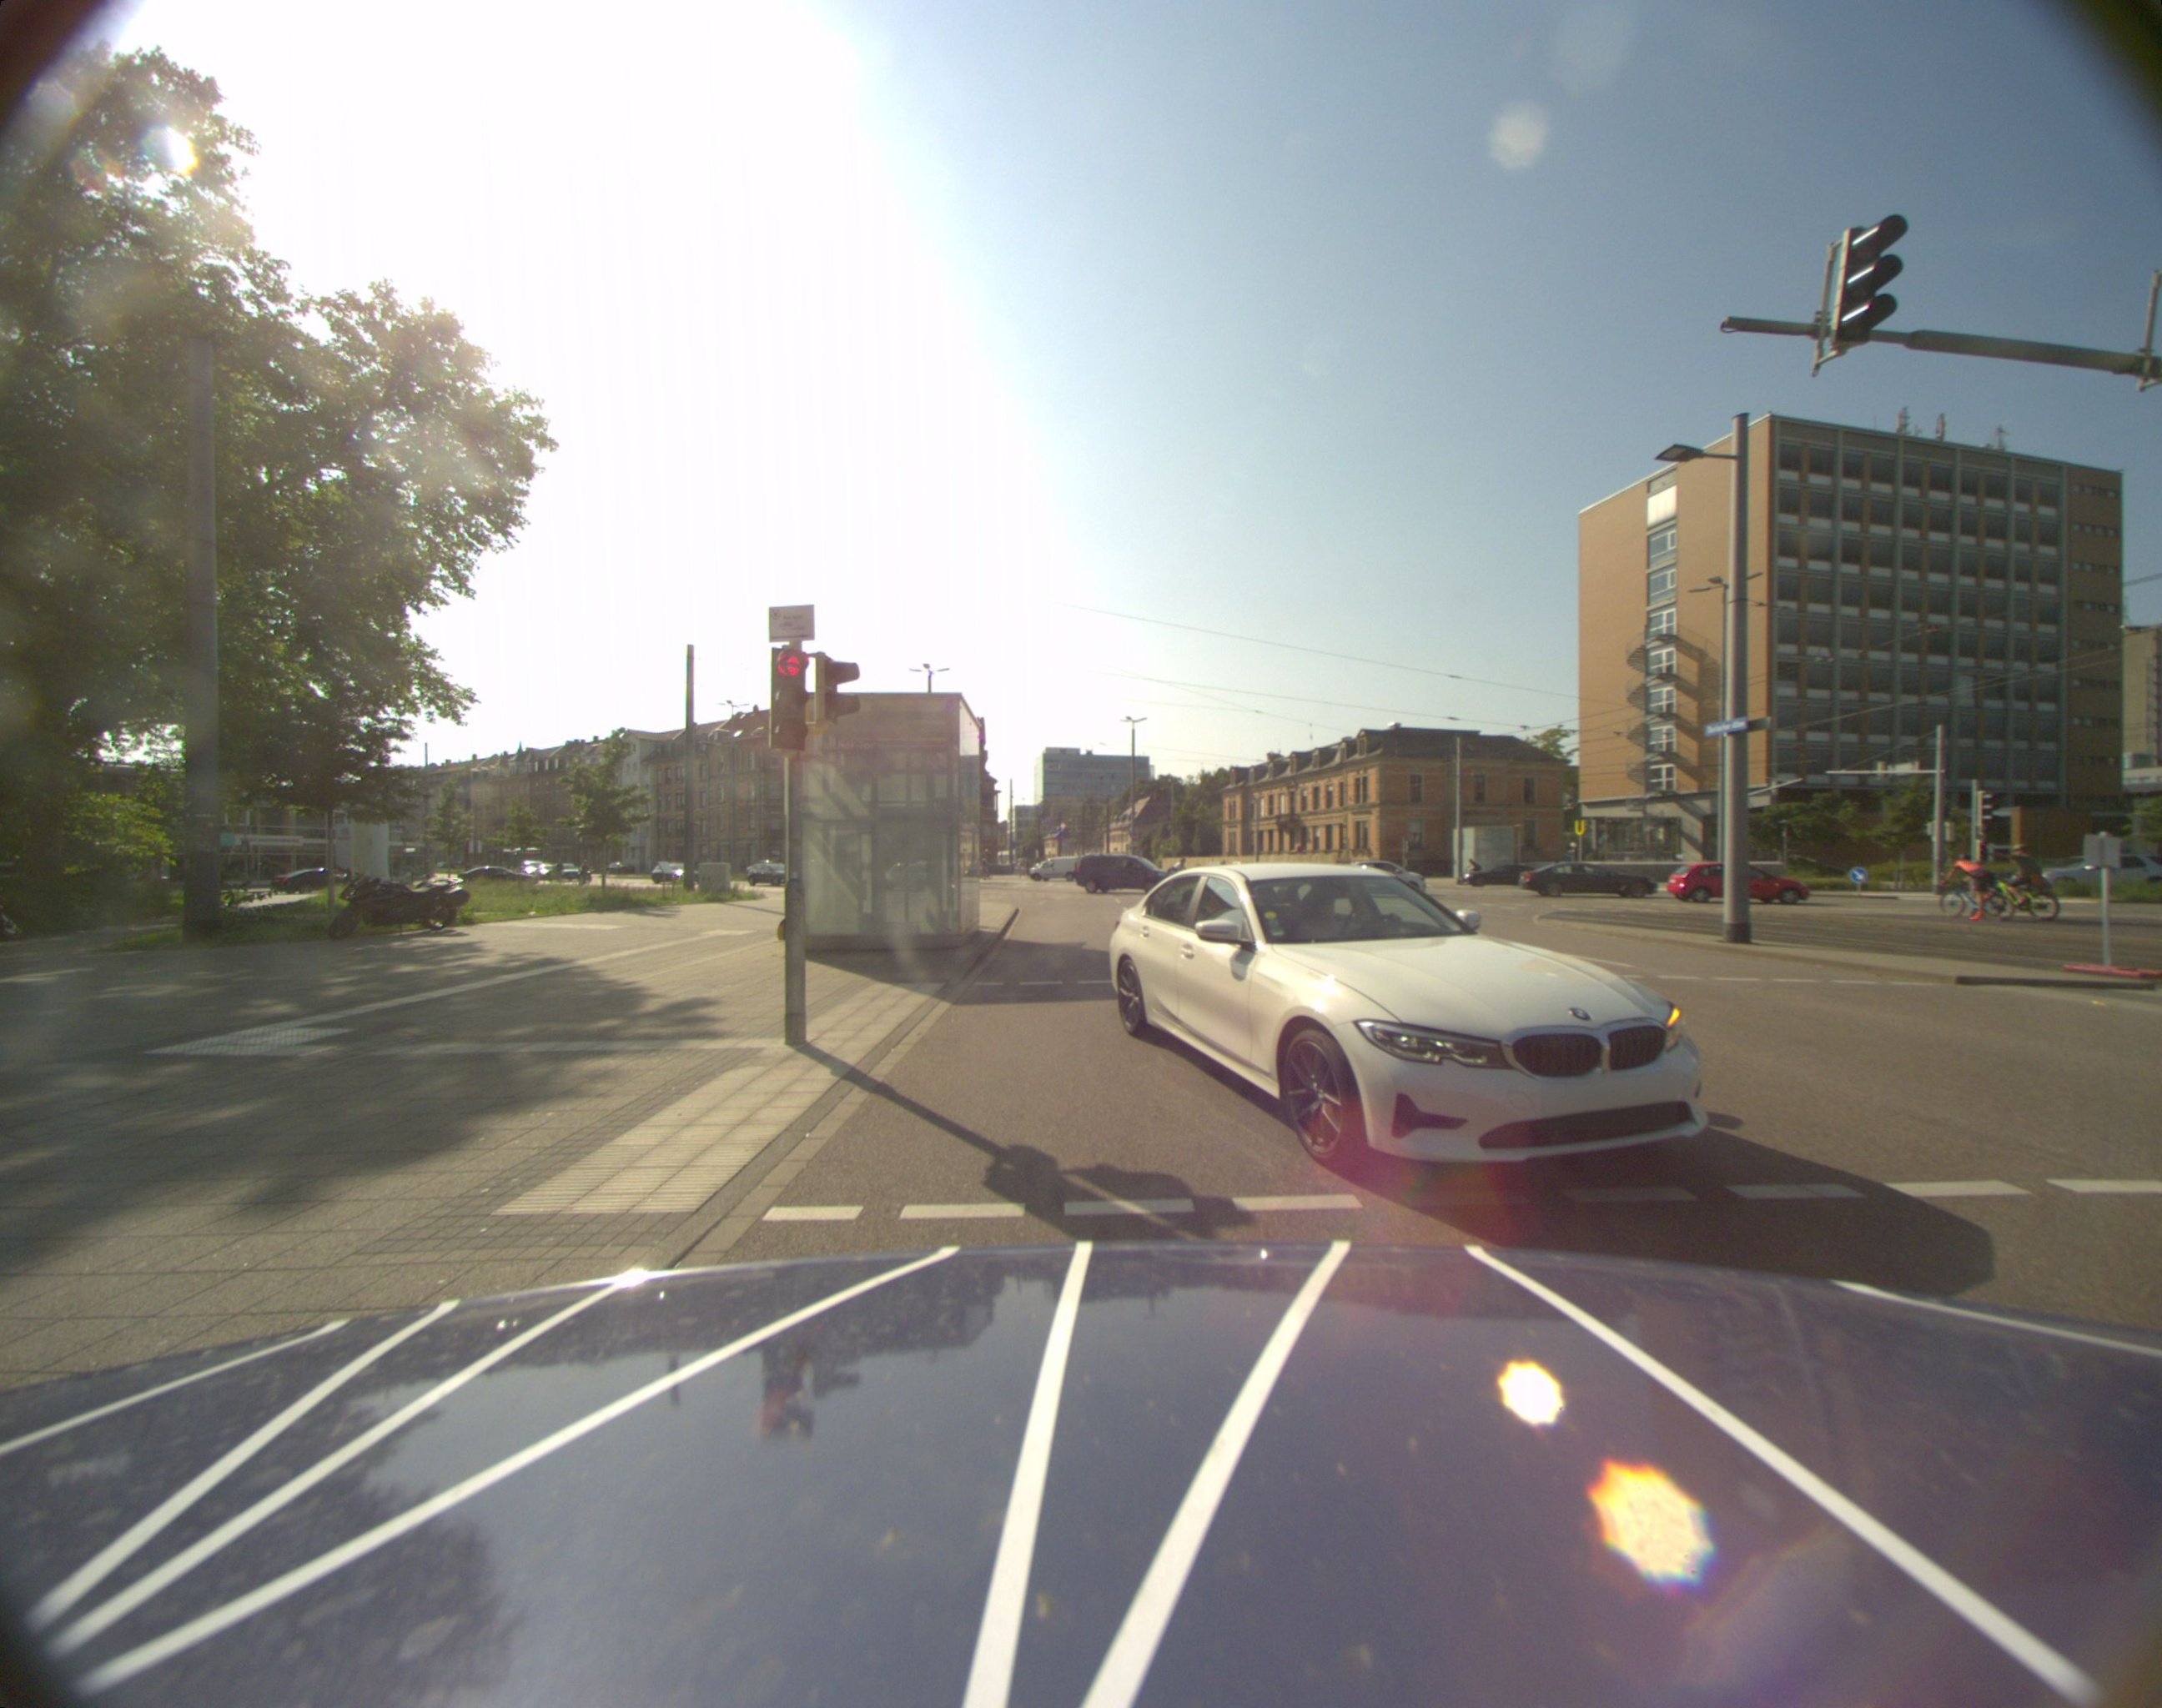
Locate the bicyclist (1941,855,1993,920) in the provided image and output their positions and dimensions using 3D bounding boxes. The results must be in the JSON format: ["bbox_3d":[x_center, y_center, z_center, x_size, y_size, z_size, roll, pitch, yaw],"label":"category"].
[{"bbox_3d":[22.751,0.844,19.523,0.511,1.620,0.808,0,0,15],"label":"bicyclist"}]

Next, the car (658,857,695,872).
[{"bbox_3d":[-42.235,1.092,79.262,3.770,1.439,1.680,0,-1,30],"label":"car"}]

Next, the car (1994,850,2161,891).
[{"bbox_3d":[43.048,0.714,32.798,4.281,1.696,1.955,0,-2,16],"label":"car"}]

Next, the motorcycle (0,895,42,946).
[{"bbox_3d":[-22.453,1.370,15.123,0.704,0.996,1.959,0,0,16],"label":"motorcycle"}]

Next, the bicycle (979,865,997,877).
[{"bbox_3d":[-8.386,1.516,68.630,1.527,1.019,0.433,0,0,-13],"label":"bicycle"}]

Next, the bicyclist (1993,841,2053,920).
[{"bbox_3d":[24.006,0.675,19.372,0.580,1.963,0.808,0,0,15],"label":"bicyclist"}]

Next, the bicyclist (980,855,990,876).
[{"bbox_3d":[-8.350,0.980,66.249,0.709,1.851,0.782,0,0,7],"label":"bicyclist"}]

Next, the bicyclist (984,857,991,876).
[{"bbox_3d":[-8.463,1.122,68.609,0.587,1.720,0.594,0,0,-14],"label":"bicyclist"}]

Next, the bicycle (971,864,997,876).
[{"bbox_3d":[-8.453,1.385,66.335,2.184,1.089,0.529,0,0,7],"label":"bicycle"}]

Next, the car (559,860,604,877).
[{"bbox_3d":[-42.789,1.206,65.084,3.621,1.433,1.807,0,0,31],"label":"car"}]

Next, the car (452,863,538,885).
[{"bbox_3d":[-40.273,1.344,52.270,1.994,1.362,4.408,0,0,43],"label":"car"}]

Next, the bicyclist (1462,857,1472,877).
[{"bbox_3d":[27.752,0.934,54.614,0.547,1.471,0.398,0,1,34],"label":"bicyclist"}]

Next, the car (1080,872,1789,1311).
[{"bbox_3d":[1.492,0.921,5.277,1.816,1.419,4.768,-2,0,-14],"label":"car"}]

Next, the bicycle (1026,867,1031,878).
[{"bbox_3d":[-5.612,1.949,81.135,0.401,1.084,1.927,0,0,-5],"label":"bicycle"}]

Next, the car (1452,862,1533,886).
[{"bbox_3d":[25.925,1.261,48.032,4.315,1.456,1.677,0,-2,20],"label":"car"}]

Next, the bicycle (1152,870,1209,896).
[{"bbox_3d":[4.071,1.201,31.128,2.193,0.983,0.530,-2,1,18],"label":"bicycle"}]

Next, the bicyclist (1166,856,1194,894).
[{"bbox_3d":[4.060,0.847,31.159,0.970,1.467,1.089,0,2,18],"label":"bicyclist"}]

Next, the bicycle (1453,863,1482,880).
[{"bbox_3d":[27.771,1.279,54.600,1.767,1.187,0.402,0,0,34],"label":"bicycle"}]

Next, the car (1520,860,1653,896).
[{"bbox_3d":[21.127,0.983,31.955,4.340,1.443,1.806,0,0,20],"label":"car"}]

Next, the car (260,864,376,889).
[{"bbox_3d":[-45.126,1.317,45.041,1.995,1.362,4.406,0,0,26],"label":"car"}]

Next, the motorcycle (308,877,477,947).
[{"bbox_3d":[-12.792,1.033,14.242,0.704,1.140,2.304,0,0,16],"label":"motorcycle"}]

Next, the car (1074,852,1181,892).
[{"bbox_3d":[2.212,0.816,36.450,4.761,1.817,1.807,0,0,27],"label":"car"}]

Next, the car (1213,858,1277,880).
[{"bbox_3d":[11.593,1.070,53.706,4.280,1.456,1.677,0,-2,20],"label":"car"}]

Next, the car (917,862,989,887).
[{"bbox_3d":[-7.564,1.163,44.770,3.989,1.407,1.807,0,0,31],"label":"car"}]

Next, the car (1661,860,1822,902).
[{"bbox_3d":[23.666,0.942,27.408,3.991,1.407,1.806,0,0,20],"label":"car"}]

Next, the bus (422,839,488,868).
[{"bbox_3d":[-67.287,-0.042,81.506,11.463,2.966,2.904,0,0,37],"label":"bus"}]

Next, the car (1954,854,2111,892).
[{"bbox_3d":[44.779,0.896,35.892,4.280,1.696,1.929,0,-2,18],"label":"car"}]

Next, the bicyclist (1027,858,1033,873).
[{"bbox_3d":[-5.459,1.233,81.035,0.662,1.627,0.918,0,0,-6],"label":"bicyclist"}]

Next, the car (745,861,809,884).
[{"bbox_3d":[-19.338,1.142,48.268,3.893,1.433,1.807,0,0,31],"label":"car"}]

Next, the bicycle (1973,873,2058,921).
[{"bbox_3d":[24.162,1.078,19.685,0.376,1.158,1.861,0,0,16],"label":"bicycle"}]

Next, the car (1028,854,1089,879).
[{"bbox_3d":[-1.735,0.956,58.811,4.280,1.875,1.798,0,-2,21],"label":"car"}]

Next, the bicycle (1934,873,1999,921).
[{"bbox_3d":[22.782,1.076,19.569,0.311,1.158,1.501,0,0,16],"label":"bicycle"}]

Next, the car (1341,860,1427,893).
[{"bbox_3d":[13.812,0.981,34.647,3.548,1.427,1.806,0,0,23],"label":"car"}]
